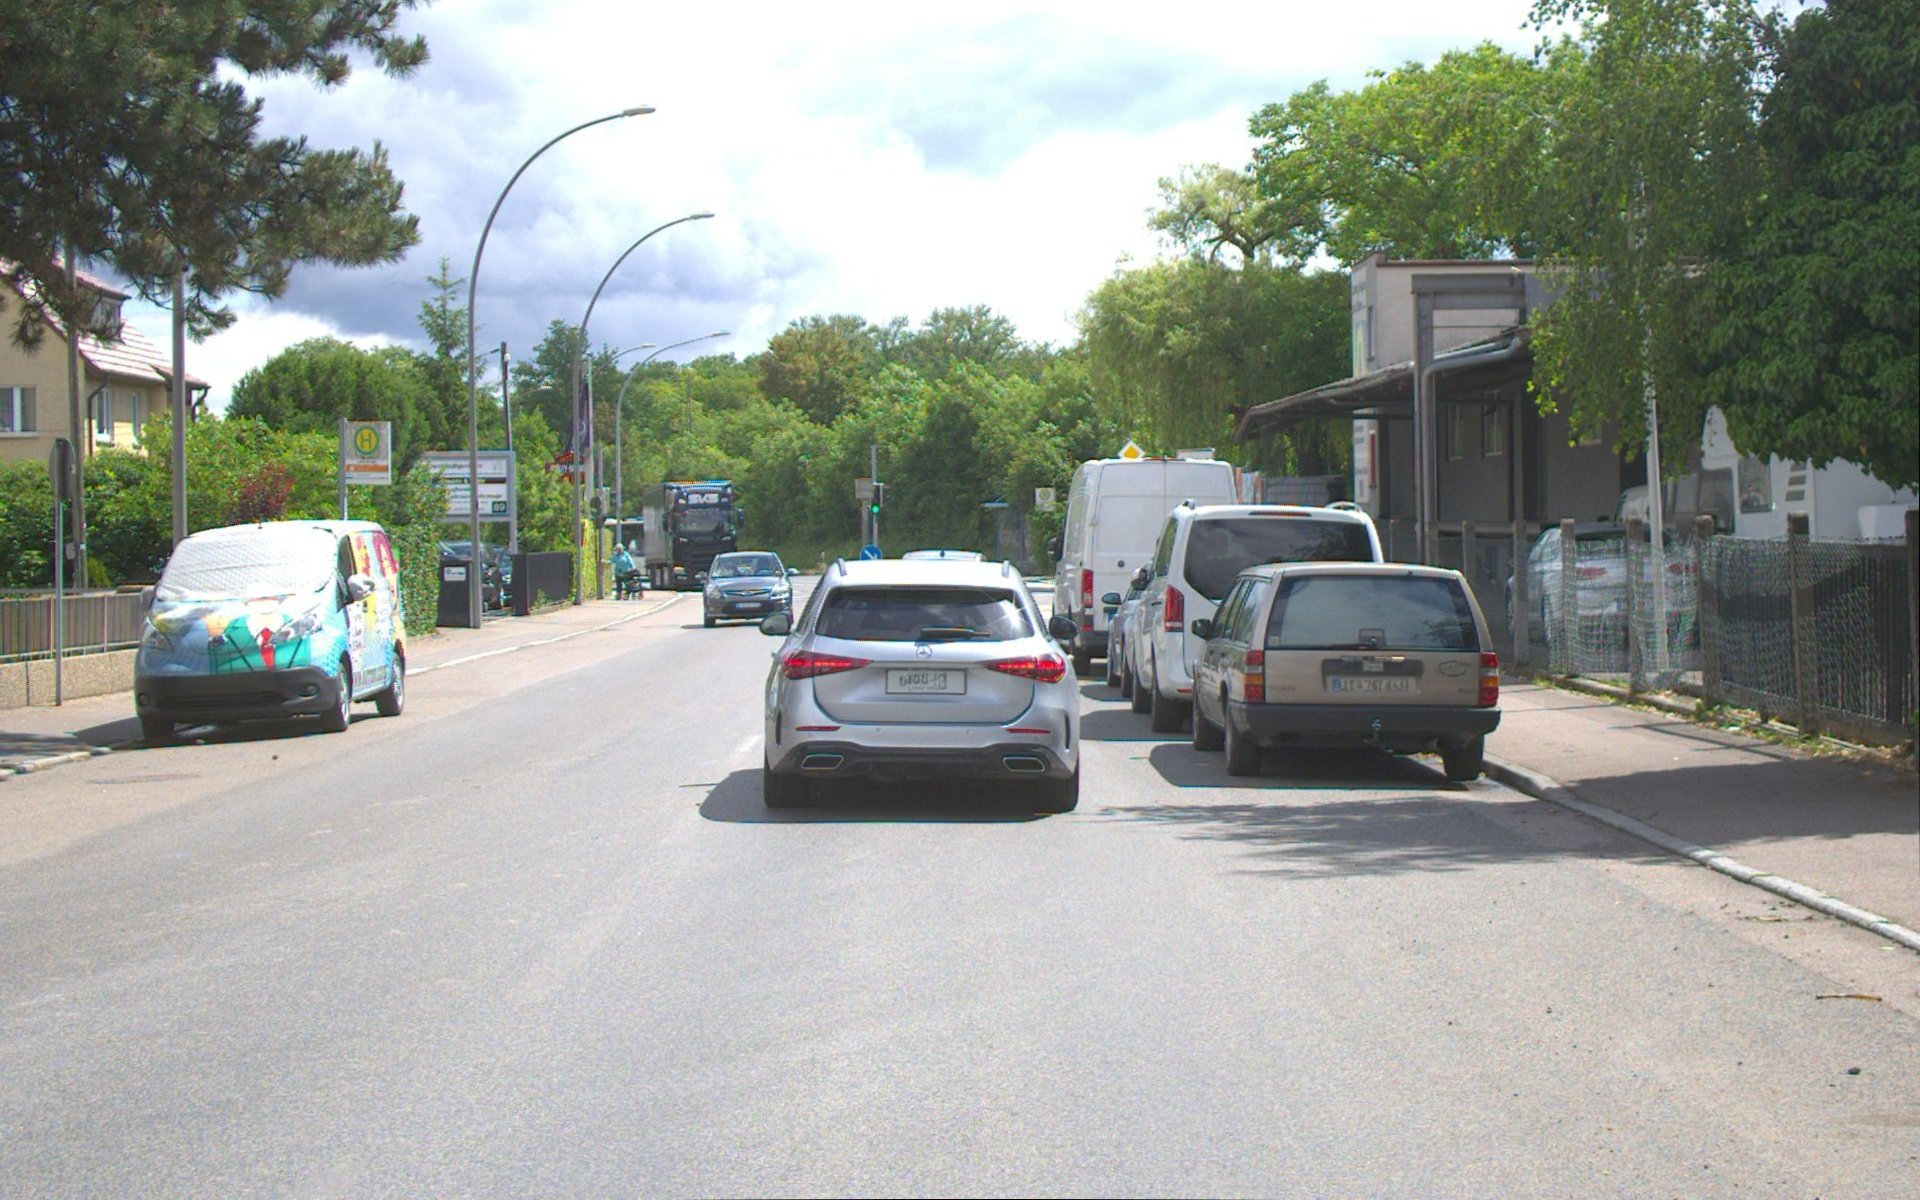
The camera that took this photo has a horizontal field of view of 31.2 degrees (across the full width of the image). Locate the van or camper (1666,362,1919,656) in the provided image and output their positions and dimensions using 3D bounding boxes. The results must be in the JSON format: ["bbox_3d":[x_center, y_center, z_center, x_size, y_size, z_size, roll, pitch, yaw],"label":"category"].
[{"bbox_3d":[10.358,-1.022,39.436,2.881,3.050,6.914,-1,1,-2],"label":"van or camper"}]

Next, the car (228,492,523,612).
[{"bbox_3d":[-12.832,-1.056,75.776,6.037,2.488,2.477,-1,1,0],"label":"car"}]

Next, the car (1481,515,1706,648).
[{"bbox_3d":[7.578,-0.272,41.553,1.764,1.484,4.927,-1,2,-1],"label":"car"}]

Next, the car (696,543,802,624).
[{"bbox_3d":[-4.170,-0.348,68.397,1.900,1.512,4.319,-2,1,-1],"label":"car"}]

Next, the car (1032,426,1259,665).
[{"bbox_3d":[2.199,-0.685,42.718,2.215,2.680,6.658,-2,1,-2],"label":"car"}]

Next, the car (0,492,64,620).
[{"bbox_3d":[-19.899,-0.822,67.982,2.412,2.487,6.135,-3,1,3],"label":"car"}]

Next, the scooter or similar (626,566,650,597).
[{"bbox_3d":[-9.027,-0.522,96.417,0.611,0.829,0.659,1,1,0],"label":"scooter or similar"}]

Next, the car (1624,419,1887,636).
[{"bbox_3d":[10.423,-1.004,45.463,2.017,2.672,5.498,-1,2,-2],"label":"car"}]

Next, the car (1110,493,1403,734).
[{"bbox_3d":[2.461,0.060,29.893,1.905,1.879,5.390,1,1,-2],"label":"car"}]

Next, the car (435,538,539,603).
[{"bbox_3d":[-11.542,-0.735,84.161,2.153,1.501,4.268,-1,1,-3],"label":"car"}]

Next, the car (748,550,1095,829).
[{"bbox_3d":[-0.258,0.461,20.791,1.884,1.503,4.000,0,1,-1],"label":"car"}]

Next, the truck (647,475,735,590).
[{"bbox_3d":[-10.166,-2.499,129.435,2.428,4.117,9.152,1,0,-9],"label":"truck"}]

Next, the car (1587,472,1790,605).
[{"bbox_3d":[11.017,-0.966,52.321,1.993,1.903,4.853,-1,2,0],"label":"car"}]

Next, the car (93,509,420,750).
[{"bbox_3d":[-6.180,0.178,30.775,1.833,1.847,4.896,-4,2,0],"label":"car"}]

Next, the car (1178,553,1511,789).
[{"bbox_3d":[2.601,0.418,24.343,1.754,1.445,4.994,1,1,0],"label":"car"}]

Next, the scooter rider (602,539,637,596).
[{"bbox_3d":[-9.602,-0.922,96.892,0.878,1.584,0.796,-1,1,0],"label":"scooter rider"}]

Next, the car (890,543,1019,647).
[{"bbox_3d":[-0.119,-0.107,52.240,1.884,1.503,4.000,0,1,-1],"label":"car"}]
